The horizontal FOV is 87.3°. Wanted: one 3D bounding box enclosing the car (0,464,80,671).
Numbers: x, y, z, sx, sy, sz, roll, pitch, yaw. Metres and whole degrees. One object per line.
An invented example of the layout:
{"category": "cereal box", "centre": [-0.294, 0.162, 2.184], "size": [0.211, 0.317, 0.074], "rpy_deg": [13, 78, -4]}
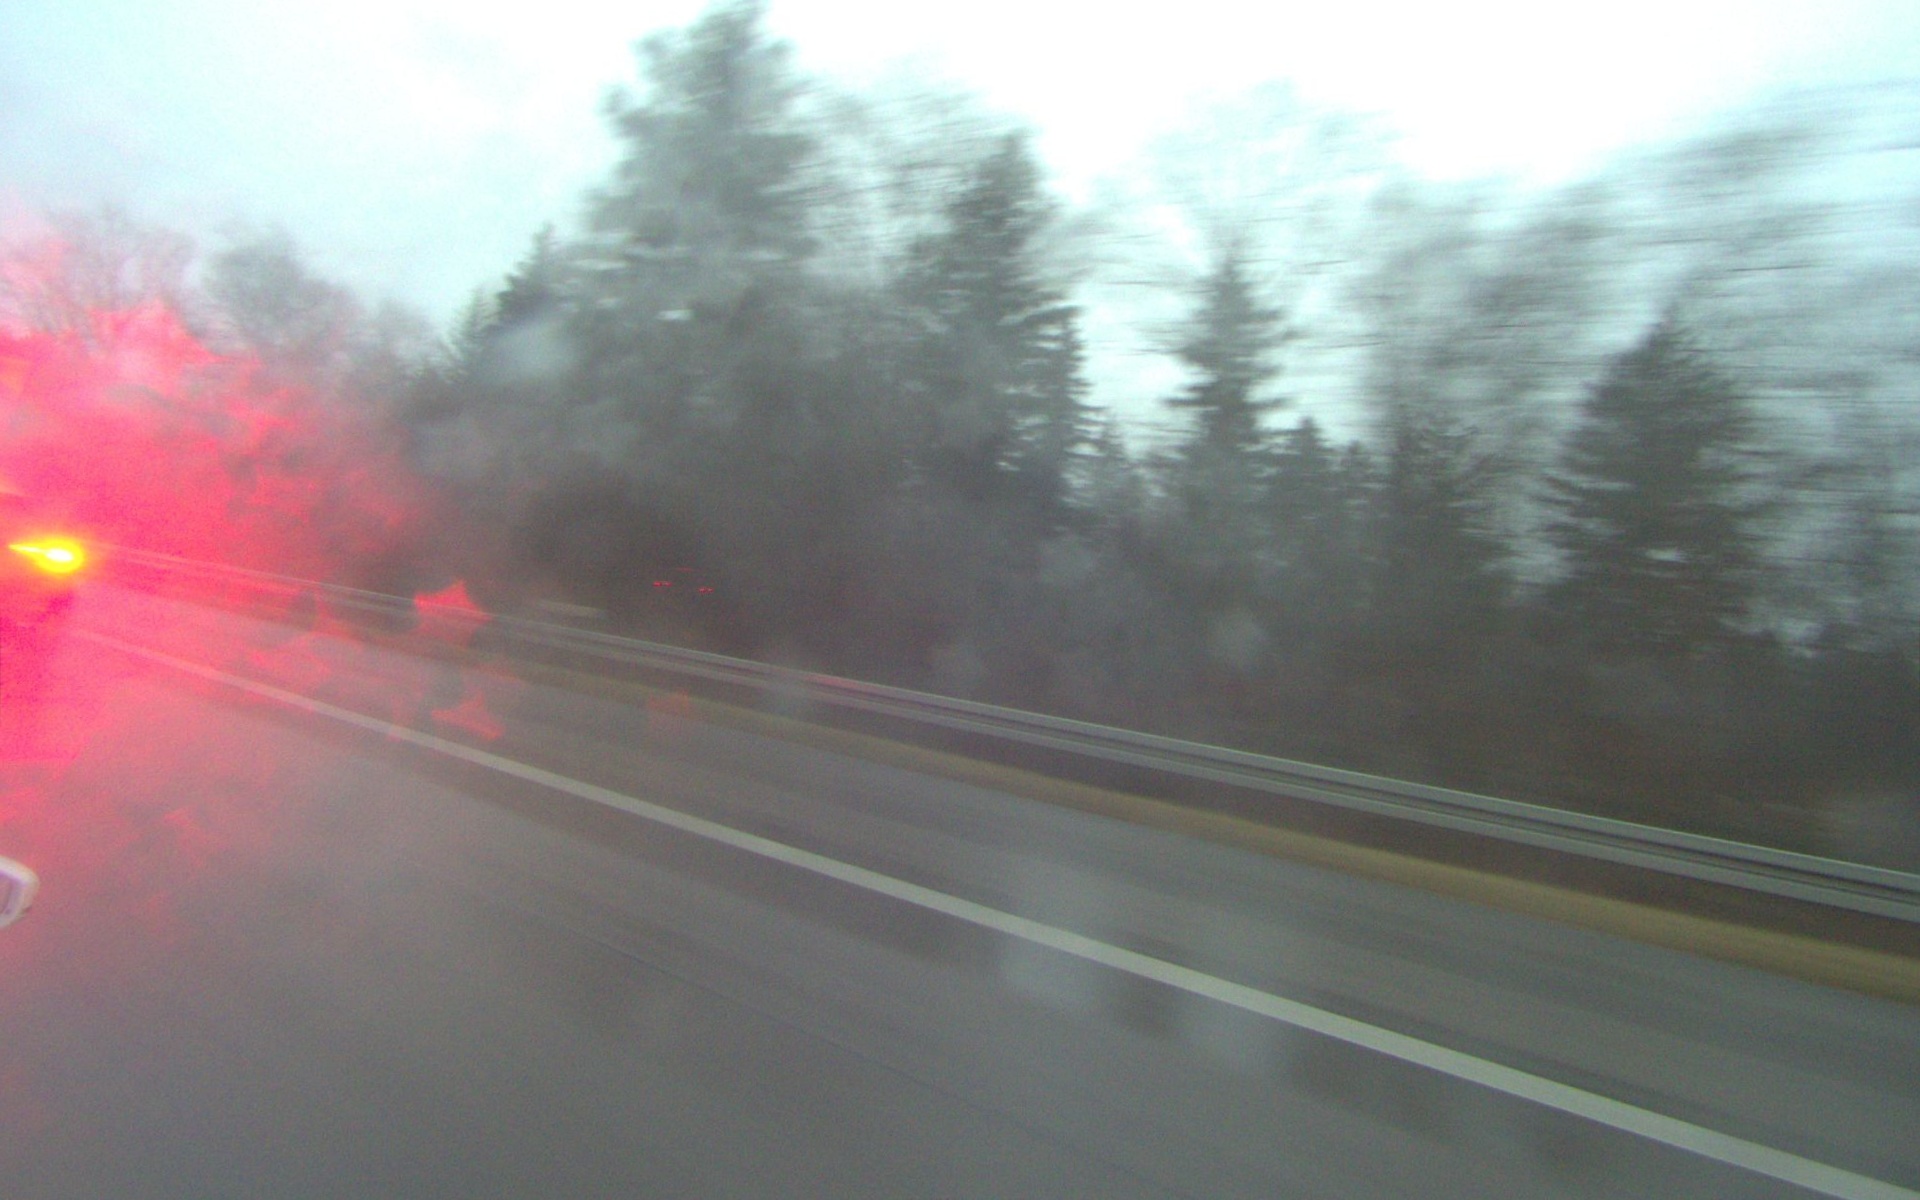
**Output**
{"category": "car", "centre": [-10.403, -0.516, 9.485], "size": [3.875, 1.812, 1.928], "rpy_deg": [6, -2, 31]}
